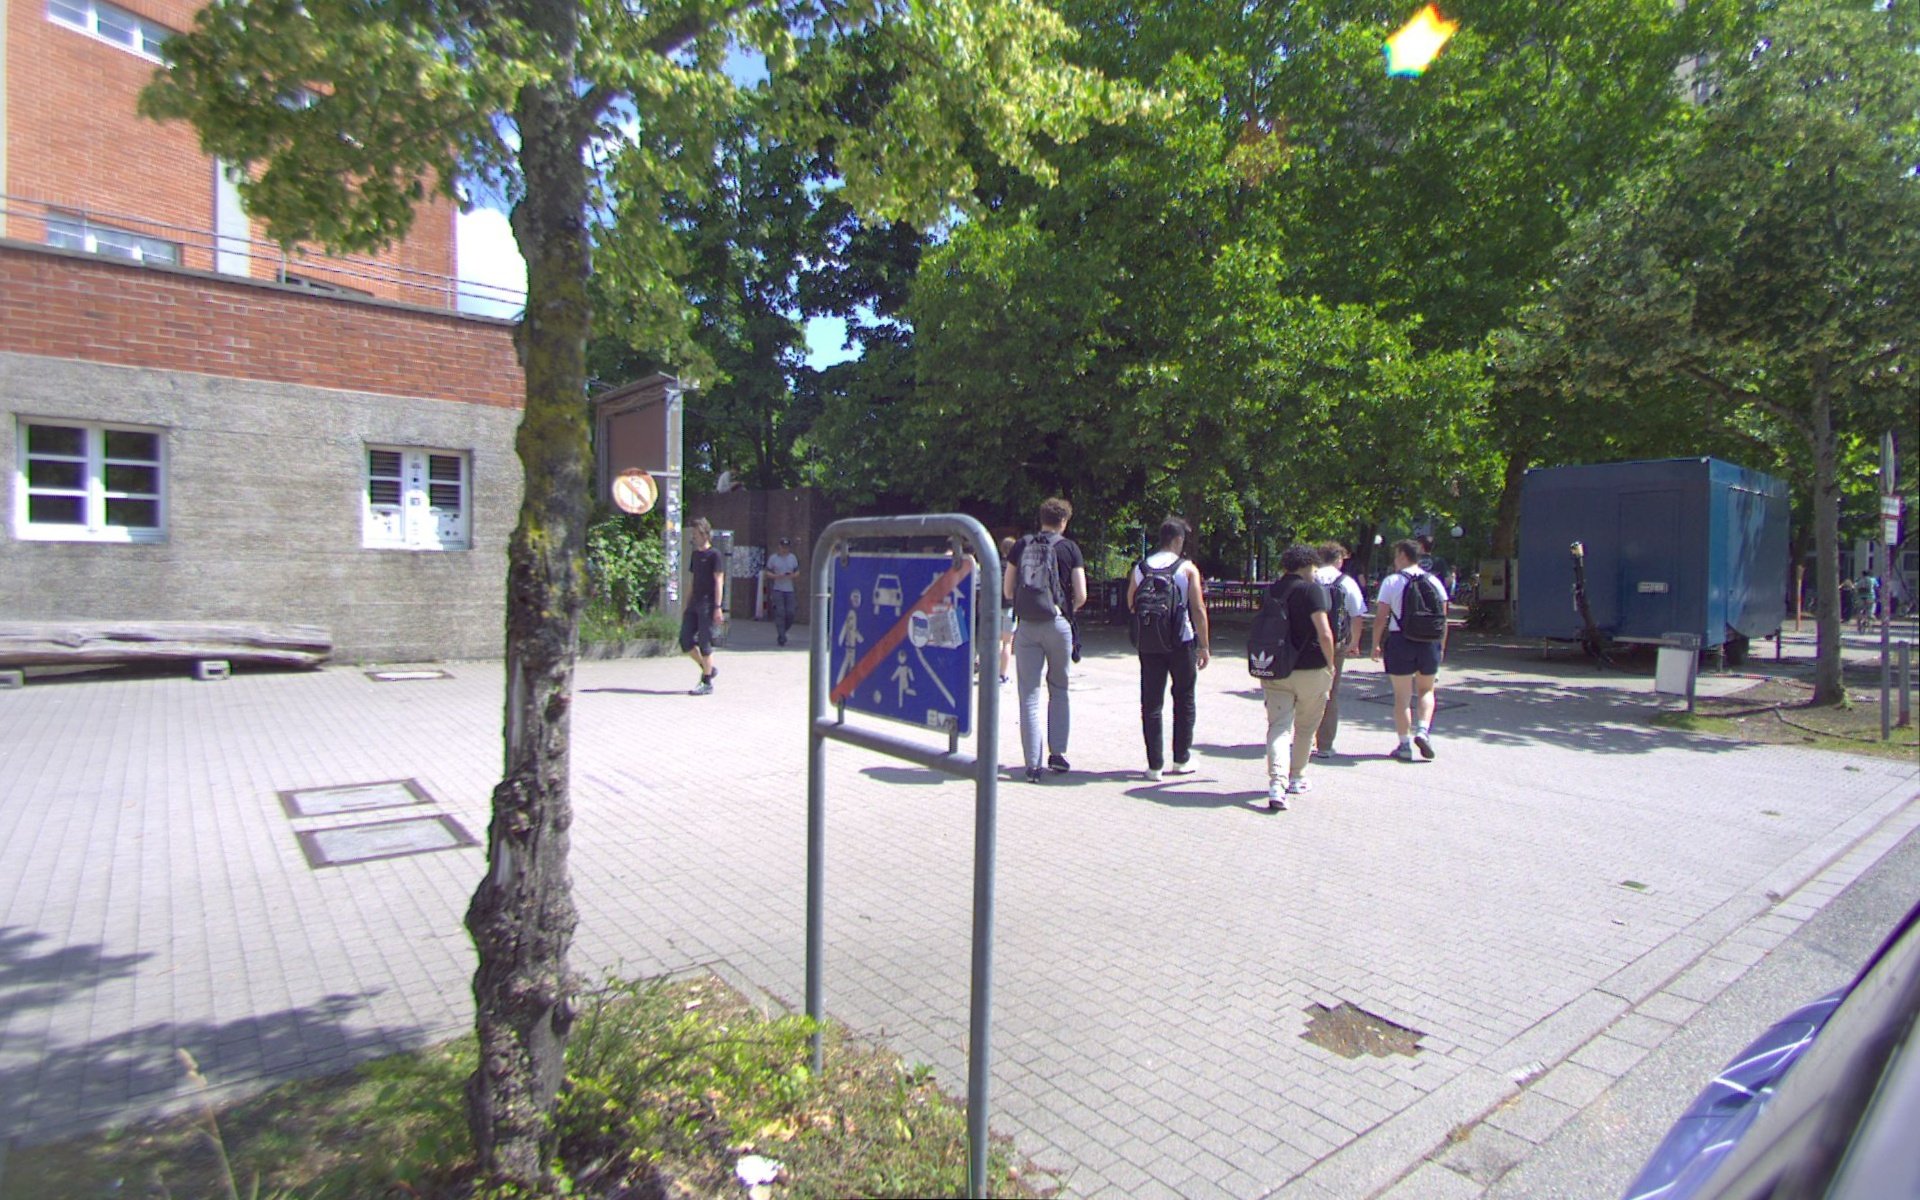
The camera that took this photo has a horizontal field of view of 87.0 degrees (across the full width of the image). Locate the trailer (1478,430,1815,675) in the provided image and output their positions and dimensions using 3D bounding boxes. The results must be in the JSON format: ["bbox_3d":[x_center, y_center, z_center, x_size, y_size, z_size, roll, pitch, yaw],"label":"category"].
[{"bbox_3d":[10.873,-0.693,15.813,6.147,3.089,2.698,-1,3,-40],"label":"trailer"}]

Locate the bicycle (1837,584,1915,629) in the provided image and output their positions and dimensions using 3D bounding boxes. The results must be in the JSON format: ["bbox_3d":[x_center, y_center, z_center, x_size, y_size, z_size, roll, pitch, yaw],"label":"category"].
[{"bbox_3d":[24.485,0.165,27.033,2.249,1.137,0.654,0,4,-25],"label":"bicycle"}]

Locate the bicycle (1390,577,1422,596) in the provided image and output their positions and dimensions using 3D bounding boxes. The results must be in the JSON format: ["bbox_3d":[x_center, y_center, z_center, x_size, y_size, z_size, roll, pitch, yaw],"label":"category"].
[{"bbox_3d":[26.018,-0.789,59.070,1.659,1.097,0.478,0,-1,6],"label":"bicycle"}]

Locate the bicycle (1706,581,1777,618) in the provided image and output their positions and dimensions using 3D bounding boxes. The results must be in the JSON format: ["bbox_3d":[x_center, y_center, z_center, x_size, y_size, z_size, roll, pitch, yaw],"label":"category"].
[{"bbox_3d":[25.093,-0.028,32.499,1.765,1.095,0.432,3,2,40],"label":"bicycle"}]

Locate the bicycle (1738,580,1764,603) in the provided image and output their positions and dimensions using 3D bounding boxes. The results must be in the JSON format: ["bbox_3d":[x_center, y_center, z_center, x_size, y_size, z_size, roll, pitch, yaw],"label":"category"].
[{"bbox_3d":[41.259,-0.440,52.796,1.665,1.164,0.628,2,2,-38],"label":"bicycle"}]

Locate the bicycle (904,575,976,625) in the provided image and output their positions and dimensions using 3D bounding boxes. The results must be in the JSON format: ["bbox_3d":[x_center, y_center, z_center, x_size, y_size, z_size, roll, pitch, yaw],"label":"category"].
[{"bbox_3d":[-0.502,-0.021,23.846,0.767,1.085,2.409,0,2,-25],"label":"bicycle"}]

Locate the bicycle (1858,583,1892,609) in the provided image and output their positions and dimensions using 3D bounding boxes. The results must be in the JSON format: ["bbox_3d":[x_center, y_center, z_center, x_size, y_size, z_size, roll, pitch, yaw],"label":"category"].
[{"bbox_3d":[44.145,-0.202,48.822,1.494,1.155,0.493,3,2,-19],"label":"bicycle"}]

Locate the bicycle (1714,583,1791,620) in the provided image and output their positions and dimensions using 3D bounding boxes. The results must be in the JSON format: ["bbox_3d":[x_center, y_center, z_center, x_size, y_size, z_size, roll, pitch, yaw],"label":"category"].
[{"bbox_3d":[25.793,0.039,32.949,1.941,1.095,0.399,3,2,40],"label":"bicycle"}]

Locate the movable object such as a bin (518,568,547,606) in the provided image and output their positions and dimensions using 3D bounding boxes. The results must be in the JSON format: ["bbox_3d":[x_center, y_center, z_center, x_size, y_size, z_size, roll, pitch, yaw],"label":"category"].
[{"bbox_3d":[-15.129,-0.450,35.840,0.753,1.337,0.784,1,0,-39],"label":"movable object such as a bin"}]

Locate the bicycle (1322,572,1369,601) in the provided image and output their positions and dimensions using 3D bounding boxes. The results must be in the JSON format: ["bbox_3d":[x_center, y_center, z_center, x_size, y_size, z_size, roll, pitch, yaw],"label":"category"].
[{"bbox_3d":[15.878,-0.573,41.690,1.735,1.107,0.474,3,2,26],"label":"bicycle"}]

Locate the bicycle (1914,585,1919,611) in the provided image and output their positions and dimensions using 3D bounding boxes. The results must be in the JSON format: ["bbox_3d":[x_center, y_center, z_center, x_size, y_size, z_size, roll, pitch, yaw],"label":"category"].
[{"bbox_3d":[45.041,-0.070,46.571,1.750,1.155,0.607,1,3,-6],"label":"bicycle"}]

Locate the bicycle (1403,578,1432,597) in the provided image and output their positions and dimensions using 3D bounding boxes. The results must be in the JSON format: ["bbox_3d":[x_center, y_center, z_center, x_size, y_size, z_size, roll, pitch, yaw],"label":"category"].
[{"bbox_3d":[26.044,-0.699,57.609,1.444,1.097,0.352,0,-1,2],"label":"bicycle"}]

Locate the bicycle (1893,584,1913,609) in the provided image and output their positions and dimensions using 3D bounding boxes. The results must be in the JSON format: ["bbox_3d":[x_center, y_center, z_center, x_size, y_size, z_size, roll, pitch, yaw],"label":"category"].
[{"bbox_3d":[50.266,-0.181,53.963,1.797,1.257,0.531,-2,3,-40],"label":"bicycle"}]

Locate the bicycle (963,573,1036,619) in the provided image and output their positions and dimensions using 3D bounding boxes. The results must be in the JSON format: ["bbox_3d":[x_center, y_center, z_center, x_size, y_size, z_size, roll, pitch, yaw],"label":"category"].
[{"bbox_3d":[0.959,-0.117,25.276,0.767,1.085,2.408,-1,1,-26],"label":"bicycle"}]

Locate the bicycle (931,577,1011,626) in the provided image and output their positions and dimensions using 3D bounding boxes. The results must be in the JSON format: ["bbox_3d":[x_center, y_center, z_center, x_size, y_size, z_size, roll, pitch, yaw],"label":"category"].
[{"bbox_3d":[0.242,0.008,24.352,0.767,1.085,2.407,-1,2,-31],"label":"bicycle"}]

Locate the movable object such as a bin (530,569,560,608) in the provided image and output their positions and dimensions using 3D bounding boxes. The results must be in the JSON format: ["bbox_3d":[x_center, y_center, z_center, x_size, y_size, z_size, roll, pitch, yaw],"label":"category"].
[{"bbox_3d":[-14.389,-0.399,35.082,0.753,1.337,0.784,1,0,-39],"label":"movable object such as a bin"}]

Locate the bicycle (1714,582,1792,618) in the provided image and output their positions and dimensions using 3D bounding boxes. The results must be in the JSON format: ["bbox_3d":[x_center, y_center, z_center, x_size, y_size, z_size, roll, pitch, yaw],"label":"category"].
[{"bbox_3d":[25.535,-0.009,32.611,1.941,1.095,0.399,3,2,40],"label":"bicycle"}]

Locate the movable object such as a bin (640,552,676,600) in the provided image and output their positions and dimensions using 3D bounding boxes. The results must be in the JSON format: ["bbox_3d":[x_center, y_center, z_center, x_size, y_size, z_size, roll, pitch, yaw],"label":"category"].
[{"bbox_3d":[-8.764,-0.691,29.368,0.753,1.337,0.784,1,0,-39],"label":"movable object such as a bin"}]

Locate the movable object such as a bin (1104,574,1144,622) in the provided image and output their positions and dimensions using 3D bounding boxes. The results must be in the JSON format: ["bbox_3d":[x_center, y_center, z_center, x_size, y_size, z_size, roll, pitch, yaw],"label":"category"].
[{"bbox_3d":[3.857,-0.048,23.776,0.729,1.084,0.601,-3,3,-38],"label":"movable object such as a bin"}]

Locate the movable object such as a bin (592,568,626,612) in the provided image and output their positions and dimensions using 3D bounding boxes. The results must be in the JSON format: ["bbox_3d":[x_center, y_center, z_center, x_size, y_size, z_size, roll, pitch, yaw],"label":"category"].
[{"bbox_3d":[-10.710,-0.307,30.853,0.753,1.337,0.784,1,0,-38],"label":"movable object such as a bin"}]

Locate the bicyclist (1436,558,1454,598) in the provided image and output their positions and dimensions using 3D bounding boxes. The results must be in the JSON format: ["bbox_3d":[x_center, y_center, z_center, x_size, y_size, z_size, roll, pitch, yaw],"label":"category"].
[{"bbox_3d":[21.410,-0.972,44.661,0.527,1.750,1.067,4,3,30],"label":"bicyclist"}]

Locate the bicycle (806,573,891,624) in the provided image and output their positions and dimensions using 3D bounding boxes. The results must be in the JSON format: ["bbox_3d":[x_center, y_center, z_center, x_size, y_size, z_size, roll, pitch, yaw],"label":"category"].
[{"bbox_3d":[-2.621,-0.055,23.879,1.990,1.154,0.575,0,1,-39],"label":"bicycle"}]

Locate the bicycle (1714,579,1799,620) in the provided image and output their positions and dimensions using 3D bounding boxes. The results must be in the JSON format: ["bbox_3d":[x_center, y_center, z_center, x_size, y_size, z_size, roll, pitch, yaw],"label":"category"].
[{"bbox_3d":[24.636,-0.033,31.324,2.012,1.181,0.642,3,2,40],"label":"bicycle"}]

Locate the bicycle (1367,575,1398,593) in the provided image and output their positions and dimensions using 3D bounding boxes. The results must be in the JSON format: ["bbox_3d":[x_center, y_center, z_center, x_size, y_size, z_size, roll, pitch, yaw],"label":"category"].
[{"bbox_3d":[26.102,-0.998,62.538,1.656,1.097,0.478,0,-1,0],"label":"bicycle"}]

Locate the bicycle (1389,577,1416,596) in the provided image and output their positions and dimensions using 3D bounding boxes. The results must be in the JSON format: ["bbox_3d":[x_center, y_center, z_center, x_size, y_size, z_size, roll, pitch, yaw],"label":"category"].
[{"bbox_3d":[25.577,-0.781,58.511,1.441,1.097,0.353,0,-1,-9],"label":"bicycle"}]

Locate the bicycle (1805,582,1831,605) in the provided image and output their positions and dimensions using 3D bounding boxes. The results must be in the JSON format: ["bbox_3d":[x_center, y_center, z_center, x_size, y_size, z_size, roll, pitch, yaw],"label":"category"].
[{"bbox_3d":[42.878,-0.313,50.582,1.663,1.099,0.482,2,2,-34],"label":"bicycle"}]

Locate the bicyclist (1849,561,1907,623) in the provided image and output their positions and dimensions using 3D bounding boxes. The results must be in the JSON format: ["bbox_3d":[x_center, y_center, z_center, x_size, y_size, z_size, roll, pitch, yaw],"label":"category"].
[{"bbox_3d":[24.499,-0.216,27.011,1.171,1.586,0.654,0,4,-25],"label":"bicyclist"}]

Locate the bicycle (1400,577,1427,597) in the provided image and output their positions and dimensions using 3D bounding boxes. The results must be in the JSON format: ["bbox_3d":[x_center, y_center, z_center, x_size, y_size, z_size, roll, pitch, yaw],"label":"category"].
[{"bbox_3d":[26.093,-0.733,58.224,1.441,1.097,0.353,0,-1,-13],"label":"bicycle"}]

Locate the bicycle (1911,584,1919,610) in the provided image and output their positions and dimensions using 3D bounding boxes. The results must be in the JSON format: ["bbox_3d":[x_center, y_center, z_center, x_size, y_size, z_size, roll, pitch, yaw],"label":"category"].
[{"bbox_3d":[45.212,-0.133,47.544,1.464,1.155,0.561,-1,4,-42],"label":"bicycle"}]

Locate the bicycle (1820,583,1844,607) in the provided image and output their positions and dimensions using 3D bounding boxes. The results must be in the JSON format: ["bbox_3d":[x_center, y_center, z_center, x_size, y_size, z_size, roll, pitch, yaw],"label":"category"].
[{"bbox_3d":[43.397,-0.237,50.375,1.486,1.099,0.482,2,2,-34],"label":"bicycle"}]

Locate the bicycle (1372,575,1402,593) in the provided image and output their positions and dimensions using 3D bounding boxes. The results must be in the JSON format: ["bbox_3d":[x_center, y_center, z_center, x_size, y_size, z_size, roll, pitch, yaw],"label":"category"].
[{"bbox_3d":[26.204,-0.967,62.071,1.654,1.097,0.479,0,-1,-6],"label":"bicycle"}]

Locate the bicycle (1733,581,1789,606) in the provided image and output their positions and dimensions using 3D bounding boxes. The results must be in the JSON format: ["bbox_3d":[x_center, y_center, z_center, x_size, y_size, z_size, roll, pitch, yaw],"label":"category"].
[{"bbox_3d":[37.575,-0.325,47.493,1.897,1.123,0.630,1,2,15],"label":"bicycle"}]
